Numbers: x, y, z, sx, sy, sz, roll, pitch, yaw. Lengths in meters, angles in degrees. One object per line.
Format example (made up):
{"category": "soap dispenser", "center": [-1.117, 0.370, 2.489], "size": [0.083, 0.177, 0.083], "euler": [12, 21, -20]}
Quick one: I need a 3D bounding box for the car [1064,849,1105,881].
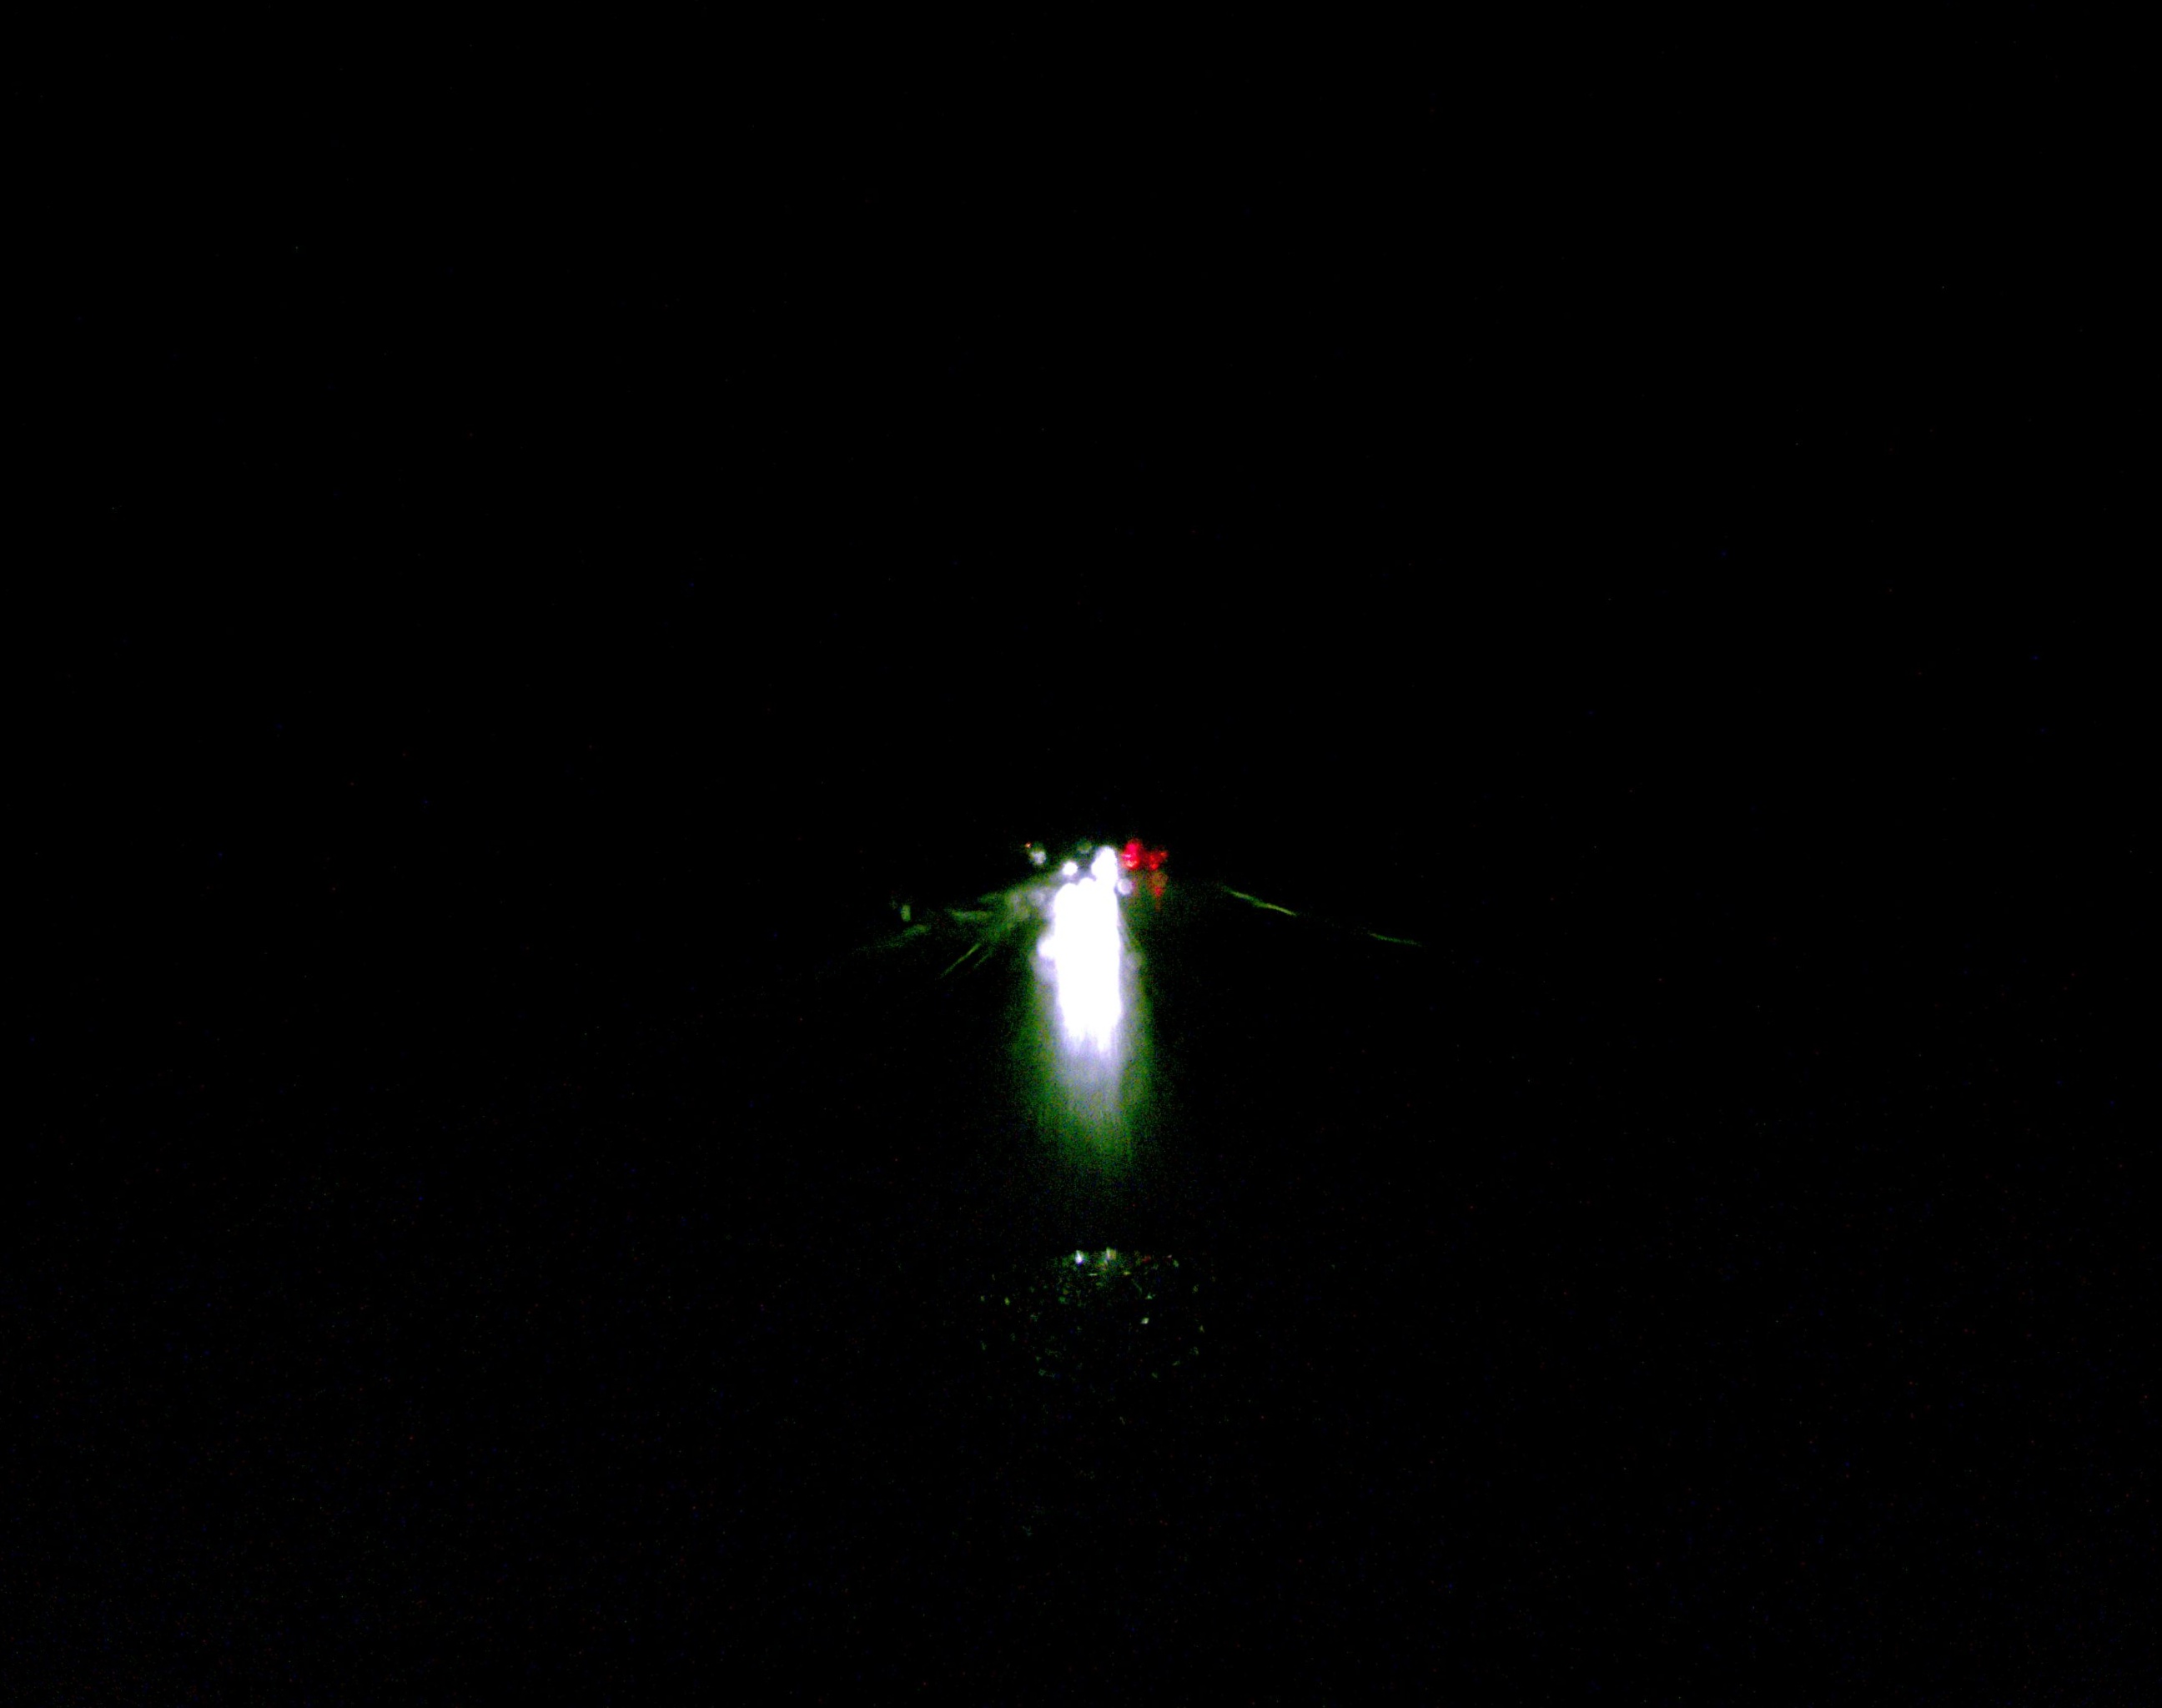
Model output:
{"category": "car", "center": [0.226, 0.538, 40.858], "size": [1.998, 1.412, 3.999], "euler": [-4, 1, 1]}

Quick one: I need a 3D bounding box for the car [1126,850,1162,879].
{"category": "car", "center": [3.814, 0.614, 46.307], "size": [1.806, 1.501, 3.614], "euler": [-4, 2, 1]}

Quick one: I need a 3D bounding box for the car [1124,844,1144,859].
{"category": "car", "center": [5.513, -0.292, 79.642], "size": [1.998, 1.451, 4.898], "euler": [-2, 1, 3]}

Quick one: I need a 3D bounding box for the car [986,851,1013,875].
{"category": "car", "center": [-6.957, 0.705, 65.100], "size": [1.883, 1.799, 4.154], "euler": [-4, 1, -3]}

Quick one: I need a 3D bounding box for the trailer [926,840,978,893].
{"category": "trailer", "center": [-6.407, 0.559, 38.188], "size": [1.634, 2.351, 4.652], "euler": [-6, 1, -1]}

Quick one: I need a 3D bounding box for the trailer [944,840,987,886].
{"category": "trailer", "center": [-6.518, 0.477, 43.392], "size": [1.609, 2.339, 4.430], "euler": [-6, 1, -1]}

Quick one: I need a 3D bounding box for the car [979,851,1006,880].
{"category": "car", "center": [-6.968, 0.838, 60.383], "size": [1.883, 2.028, 4.388], "euler": [-4, 1, -5]}
